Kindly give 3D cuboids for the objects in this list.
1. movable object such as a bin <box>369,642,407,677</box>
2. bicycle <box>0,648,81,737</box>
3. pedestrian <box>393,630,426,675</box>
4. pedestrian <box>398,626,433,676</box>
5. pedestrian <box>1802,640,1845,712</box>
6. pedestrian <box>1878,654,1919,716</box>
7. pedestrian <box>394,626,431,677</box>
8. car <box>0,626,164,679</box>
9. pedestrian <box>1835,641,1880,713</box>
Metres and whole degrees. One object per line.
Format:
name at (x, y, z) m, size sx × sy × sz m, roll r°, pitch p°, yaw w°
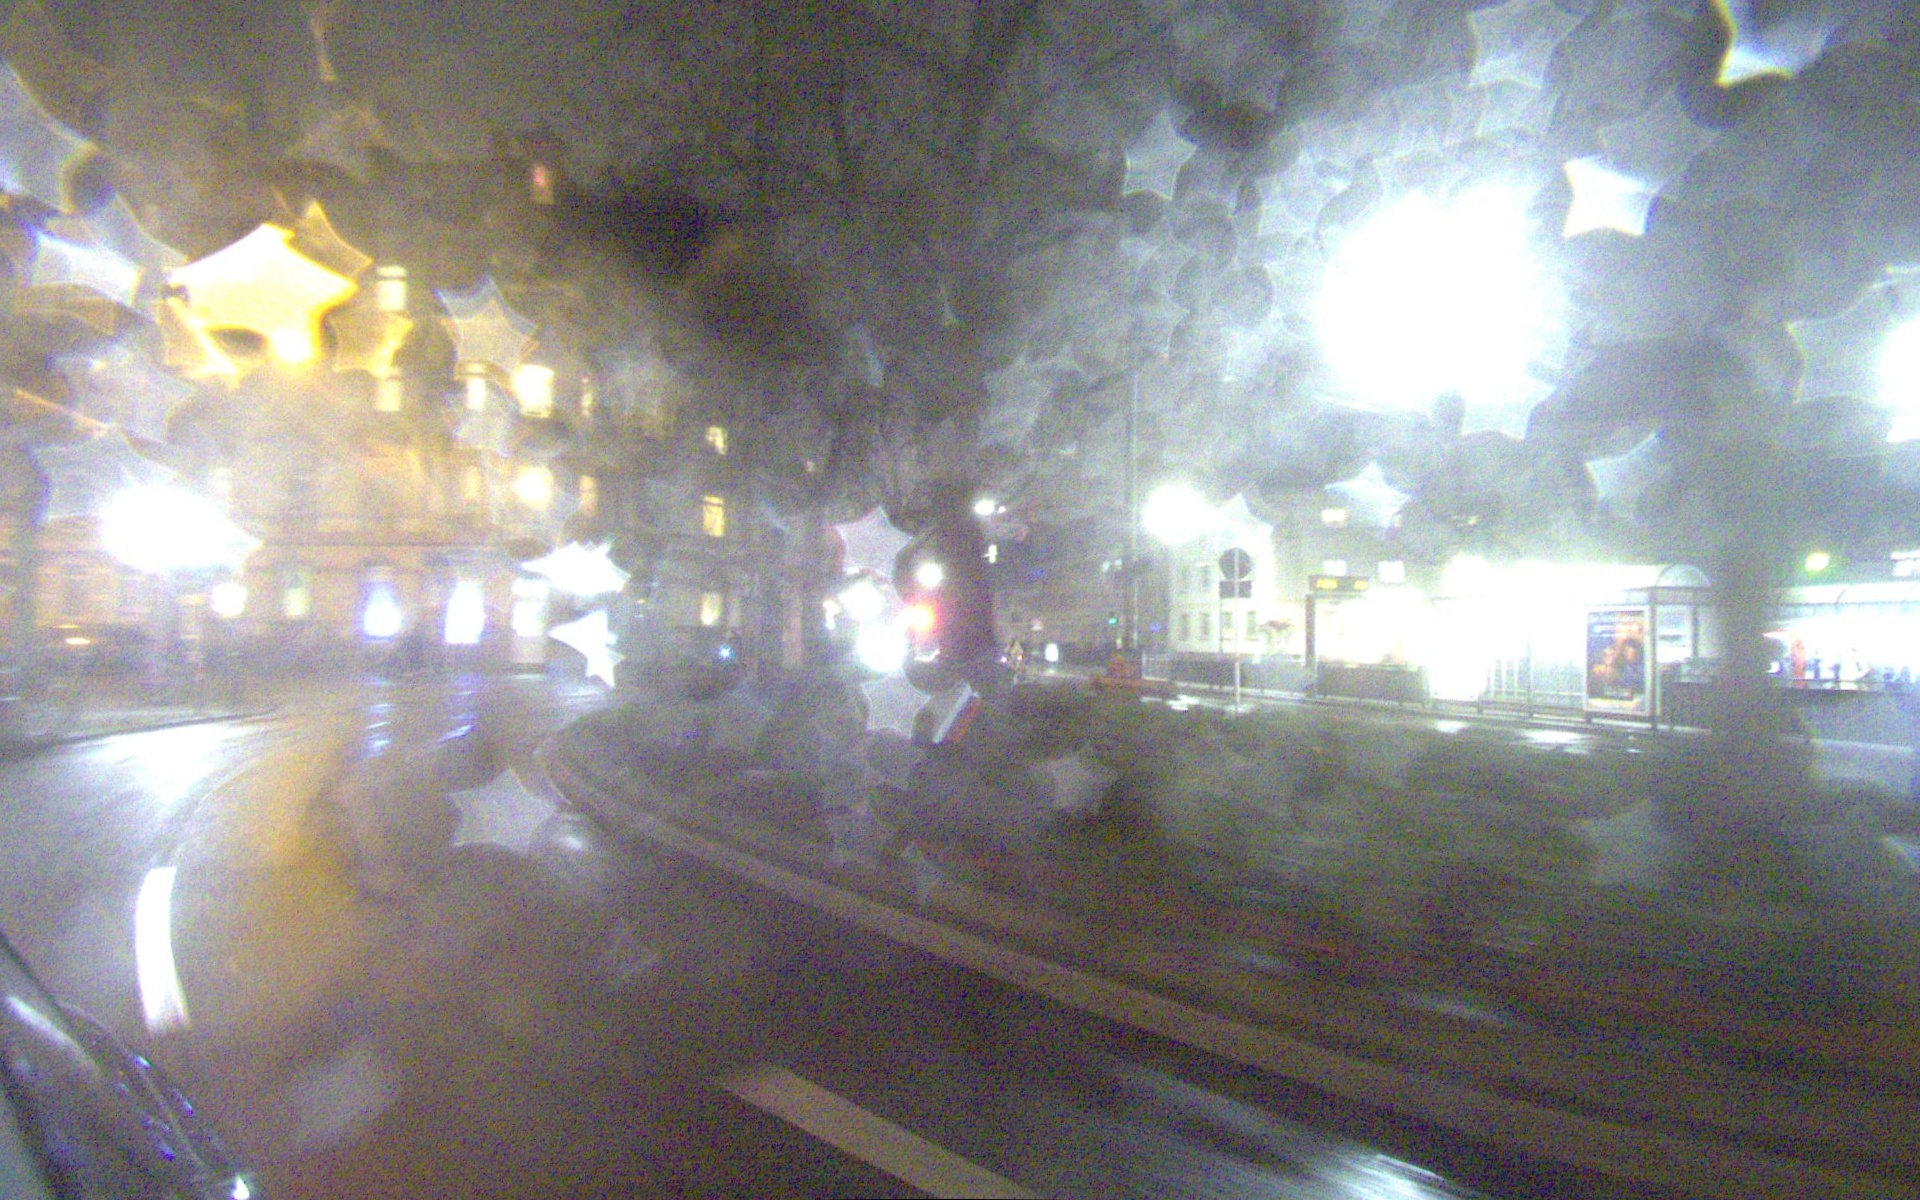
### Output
movable object such as a bin at (-19.136, 1.983, 33.855) m, size 0.909 × 1.124 × 0.635 m, roll -1°, pitch -1°, yaw -4°
bicycle at (-12.364, 1.181, 12.946) m, size 1.597 × 1.090 × 0.566 m, roll 2°, pitch 0°, yaw -31°
pedestrian at (-18.931, 1.801, 34.811) m, size 0.759 × 1.505 × 0.632 m, roll -2°, pitch -1°, yaw 9°
pedestrian at (-18.236, 1.700, 33.918) m, size 0.830 × 1.650 × 0.635 m, roll -1°, pitch -1°, yaw -4°
pedestrian at (19.346, 1.690, 22.676) m, size 0.503 × 1.559 × 0.576 m, roll -1°, pitch -1°, yaw -33°
pedestrian at (19.677, 1.765, 21.121) m, size 0.622 × 1.263 × 0.579 m, roll -2°, pitch -1°, yaw 31°
pedestrian at (-17.969, 1.682, 33.233) m, size 0.861 × 1.650 × 0.635 m, roll -1°, pitch -1°, yaw -5°
car at (-28.729, 1.675, 32.926) m, size 4.443 × 1.605 × 1.885 m, roll 0°, pitch -1°, yaw 7°
pedestrian at (19.724, 1.676, 22.234) m, size 0.472 × 1.540 × 0.588 m, roll -1°, pitch -1°, yaw -33°
